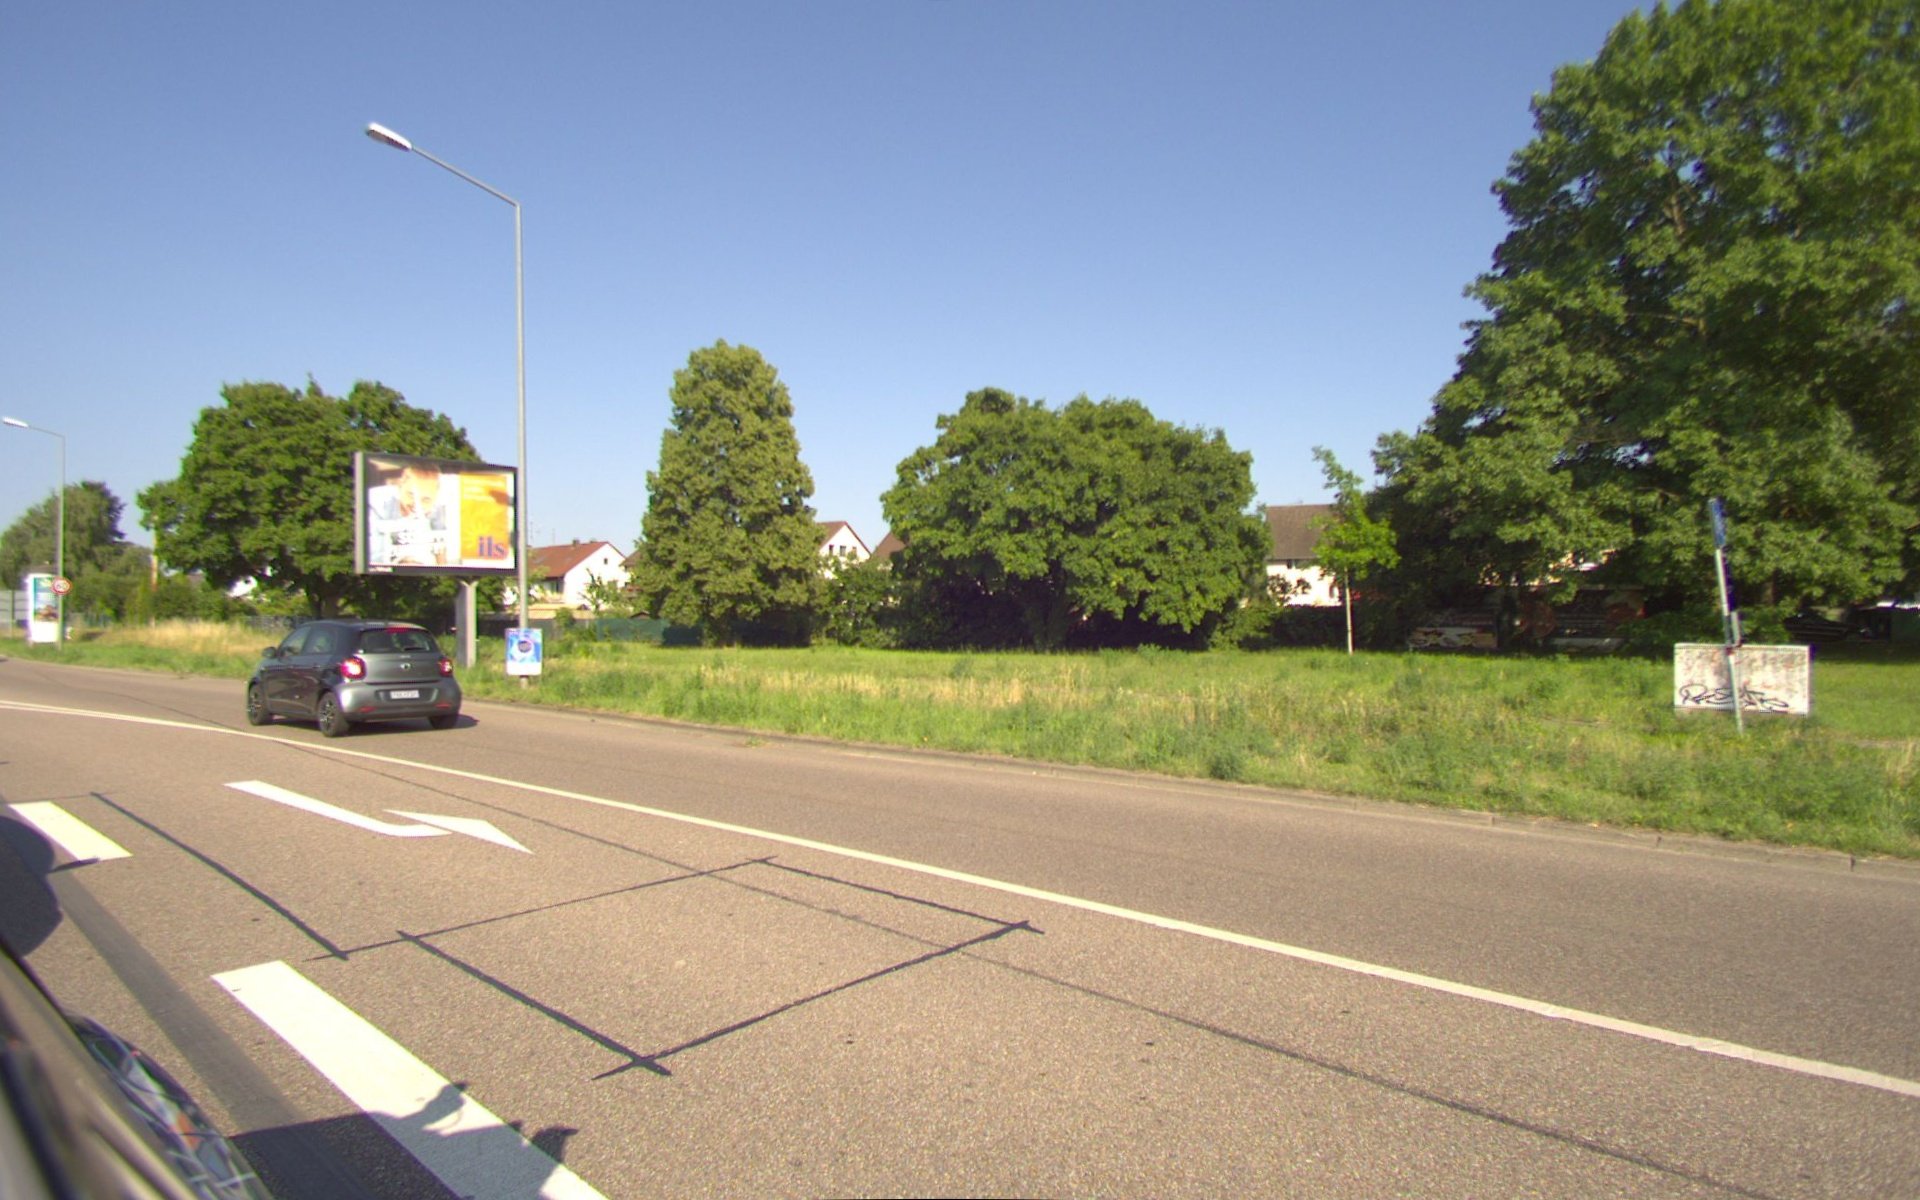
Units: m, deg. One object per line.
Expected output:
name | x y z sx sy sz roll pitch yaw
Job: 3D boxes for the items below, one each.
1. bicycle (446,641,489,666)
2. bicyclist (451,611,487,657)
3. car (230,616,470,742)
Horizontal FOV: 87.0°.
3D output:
bicycle | -15.824 1.703 32.517 1.830 0.759 0.450 -1 -1 36
bicyclist | -15.797 1.092 32.536 1.070 1.439 0.631 -1 -1 37
car | -8.739 1.046 14.422 3.669 1.572 1.618 -1 -3 36
